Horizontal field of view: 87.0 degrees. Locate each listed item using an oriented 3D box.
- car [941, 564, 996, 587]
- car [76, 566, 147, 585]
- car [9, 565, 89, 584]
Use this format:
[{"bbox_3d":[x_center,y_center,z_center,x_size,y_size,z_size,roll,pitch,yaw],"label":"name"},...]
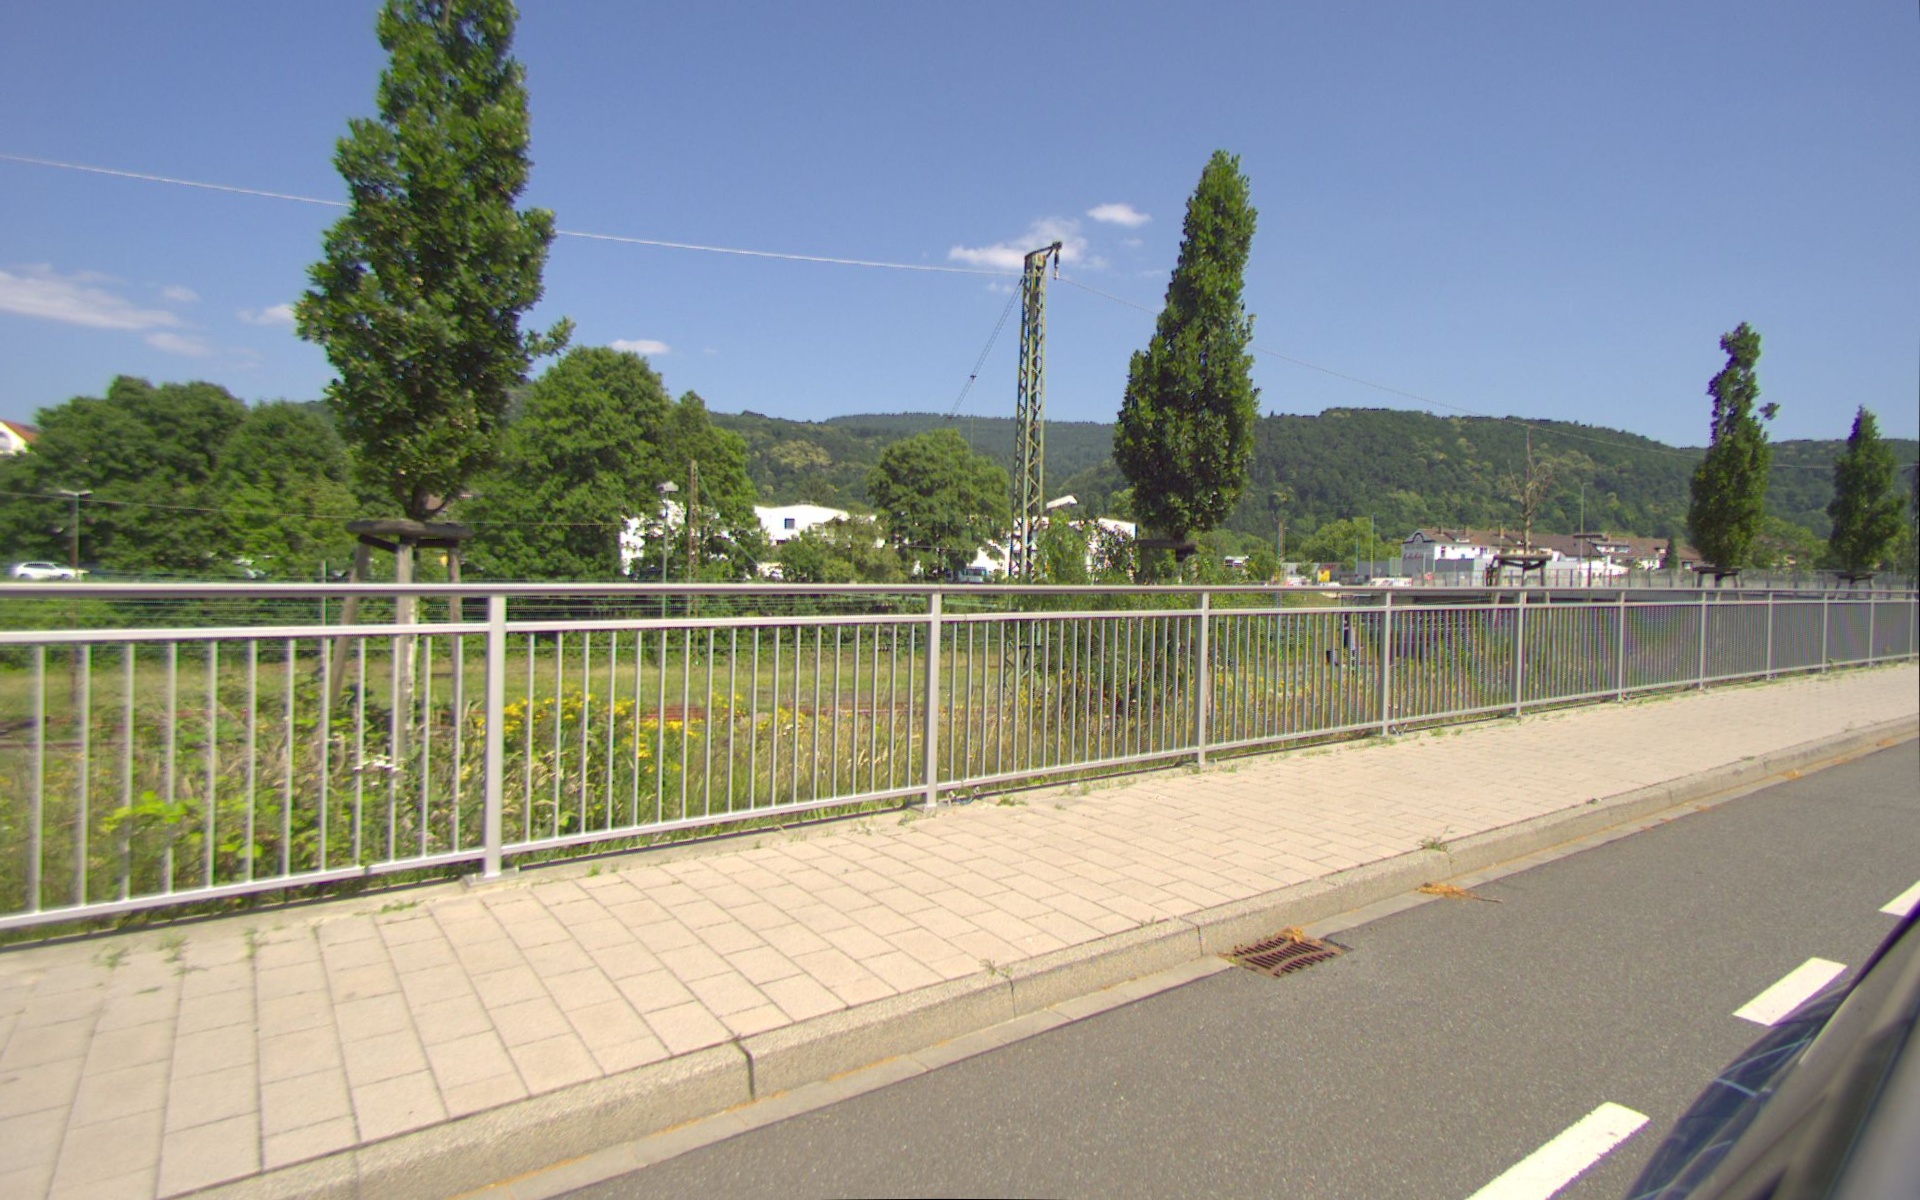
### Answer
[{"bbox_3d":[0.914,-2.627,107.875,5.405,2.130,2.138,-2,-3,-25],"label":"car"},{"bbox_3d":[-64.466,-1.887,76.950,3.765,1.384,1.786,0,1,-7],"label":"car"},{"bbox_3d":[-69.059,-1.906,76.730,4.229,1.384,1.868,0,1,-6],"label":"car"}]
